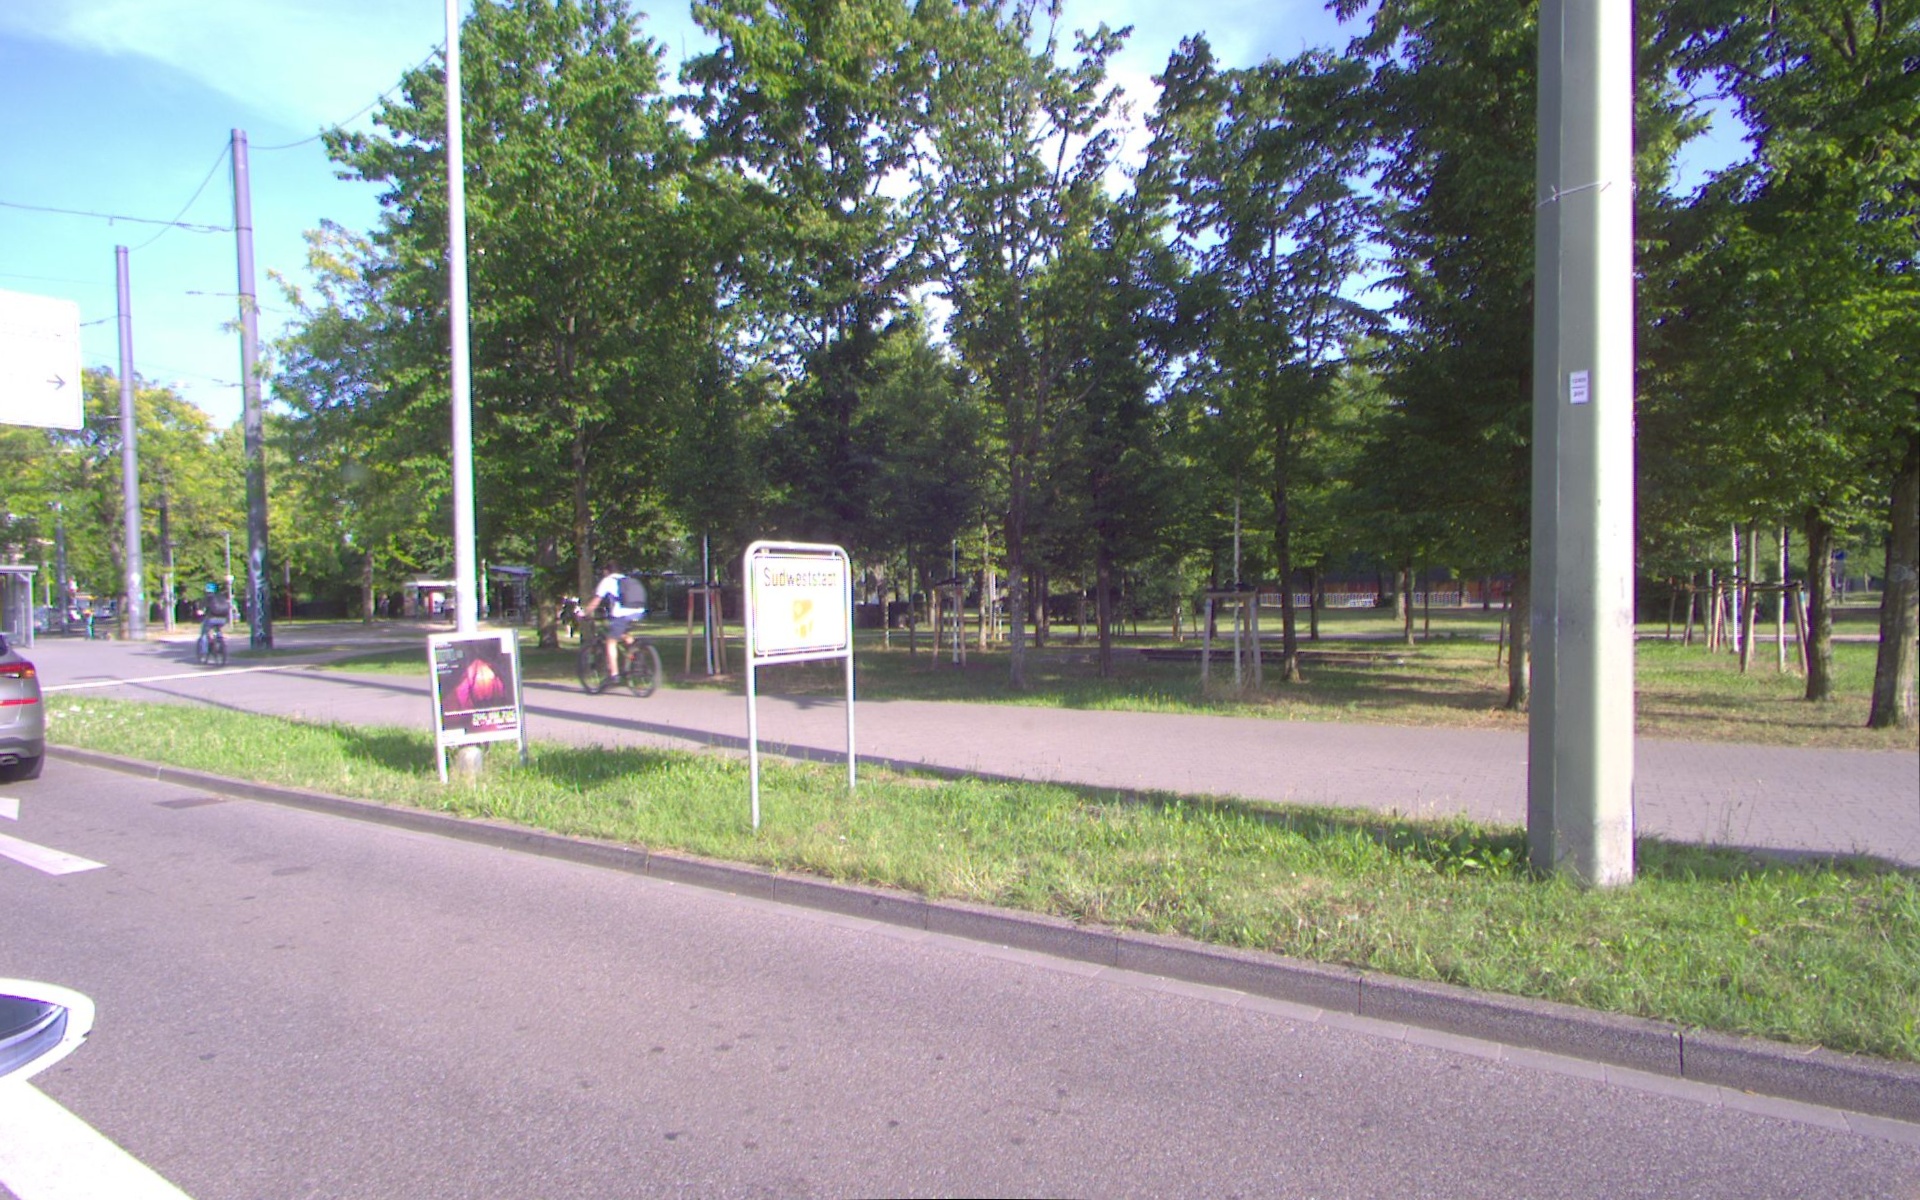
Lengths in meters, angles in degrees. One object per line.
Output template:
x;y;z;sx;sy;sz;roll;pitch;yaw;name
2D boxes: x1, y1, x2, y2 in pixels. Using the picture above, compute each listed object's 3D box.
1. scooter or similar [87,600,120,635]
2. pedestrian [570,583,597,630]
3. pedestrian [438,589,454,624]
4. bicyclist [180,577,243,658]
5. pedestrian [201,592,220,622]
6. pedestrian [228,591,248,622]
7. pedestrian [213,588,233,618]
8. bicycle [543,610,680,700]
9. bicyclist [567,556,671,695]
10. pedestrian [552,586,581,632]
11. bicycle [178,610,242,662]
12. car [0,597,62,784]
-31.431;0.639;36.749;1.115;1.248;0.351;0;1;18;scooter or similar
-15.432;0.282;41.041;0.868;1.922;0.670;0;-1;33;pedestrian
-27.848;0.345;54.254;0.594;1.891;0.461;0;-1;14;pedestrian
-16.997;0.393;22.736;1.125;1.770;0.717;0;4;36;bicyclist
-41.759;0.376;55.788;0.681;1.632;0.639;0;1;32;pedestrian
-39.795;0.354;55.171;0.681;1.688;0.639;0;1;32;pedestrian
-40.908;0.172;55.573;0.681;1.688;0.639;0;1;32;pedestrian
-4.702;0.714;13.481;1.912;1.103;0.639;-1;3;32;bicycle
-4.548;0.326;13.358;1.123;1.770;0.647;-1;4;31;bicyclist
-15.662;0.362;39.863;0.867;1.800;0.670;0;-1;33;pedestrian
-17.187;0.804;22.934;1.711;1.103;0.638;0;3;36;bicycle
-10.179;0.793;9.274;3.760;1.621;1.832;0;-1;32;car
